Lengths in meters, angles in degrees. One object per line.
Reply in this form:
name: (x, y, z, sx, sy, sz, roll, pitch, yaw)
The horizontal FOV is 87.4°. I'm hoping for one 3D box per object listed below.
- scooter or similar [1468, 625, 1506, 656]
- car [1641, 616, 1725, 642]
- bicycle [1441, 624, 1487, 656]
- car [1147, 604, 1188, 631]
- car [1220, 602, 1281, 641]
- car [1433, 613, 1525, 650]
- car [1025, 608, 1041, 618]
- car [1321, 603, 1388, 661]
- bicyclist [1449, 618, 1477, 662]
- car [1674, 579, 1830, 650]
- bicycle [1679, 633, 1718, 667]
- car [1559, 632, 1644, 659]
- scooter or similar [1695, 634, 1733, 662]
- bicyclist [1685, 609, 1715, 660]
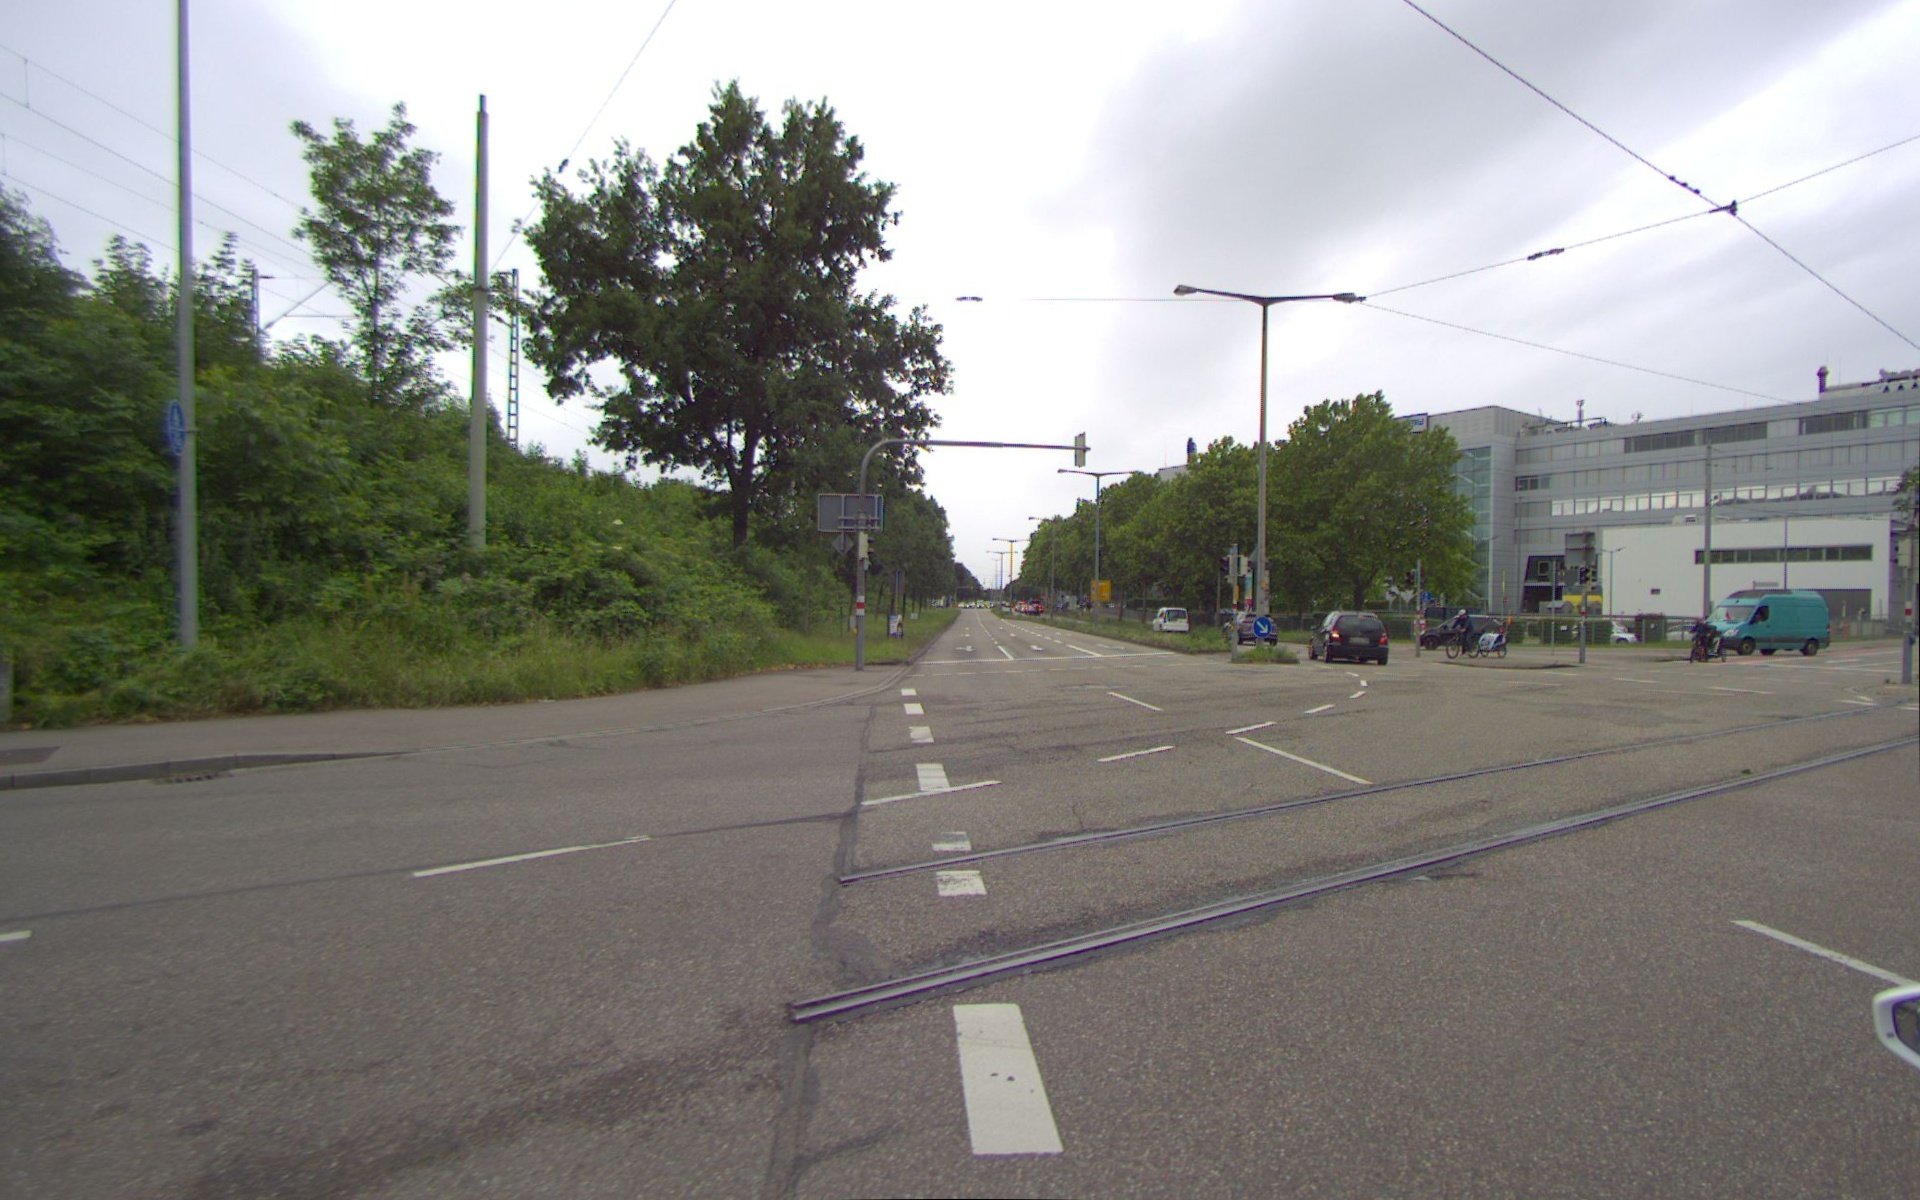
scooter or similar: (19.439, 1.471, 37.058, 1.436, 1.076, 0.640, 0, 2, -37)
car: (50.834, 2.025, 70.683, 1.895, 1.655, 4.493, 1, -1, -37)
bicycle: (18.072, 1.426, 36.015, 1.982, 1.076, 0.640, 0, 2, -37)
car: (13.835, 1.129, 67.306, 1.929, 1.548, 5.011, 2, 1, 3)
car: (13.621, 0.982, 47.270, 1.743, 1.674, 3.669, 2, 1, 0)
car: (23.740, 1.415, 46.063, 1.745, 1.548, 3.657, 1, 0, -16)
car: (11.612, 2.100, 160.110, 1.930, 1.548, 5.009, 1, 0, -2)
car: (11.922, 0.917, 30.501, 1.739, 1.548, 3.669, 2, 1, 20)
bicyclist: (18.016, 1.424, 35.973, 0.620, 1.539, 0.641, 0, 2, -37)
car: (34.271, 0.648, 43.481, 5.851, 2.863, 2.328, 1, 0, -16)
bicycle: (25.499, 1.698, 34.673, 2.008, 1.076, 0.639, 0, 2, -41)
car: (40.979, 2.902, 64.212, 1.892, 1.552, 4.187, 1, -1, -33)
scooter or similar: (26.830, 1.708, 35.752, 1.188, 0.919, 0.836, 0, 2, -41)
bicyclist: (25.527, 1.174, 34.665, 0.680, 1.706, 0.639, 0, 2, -41)
